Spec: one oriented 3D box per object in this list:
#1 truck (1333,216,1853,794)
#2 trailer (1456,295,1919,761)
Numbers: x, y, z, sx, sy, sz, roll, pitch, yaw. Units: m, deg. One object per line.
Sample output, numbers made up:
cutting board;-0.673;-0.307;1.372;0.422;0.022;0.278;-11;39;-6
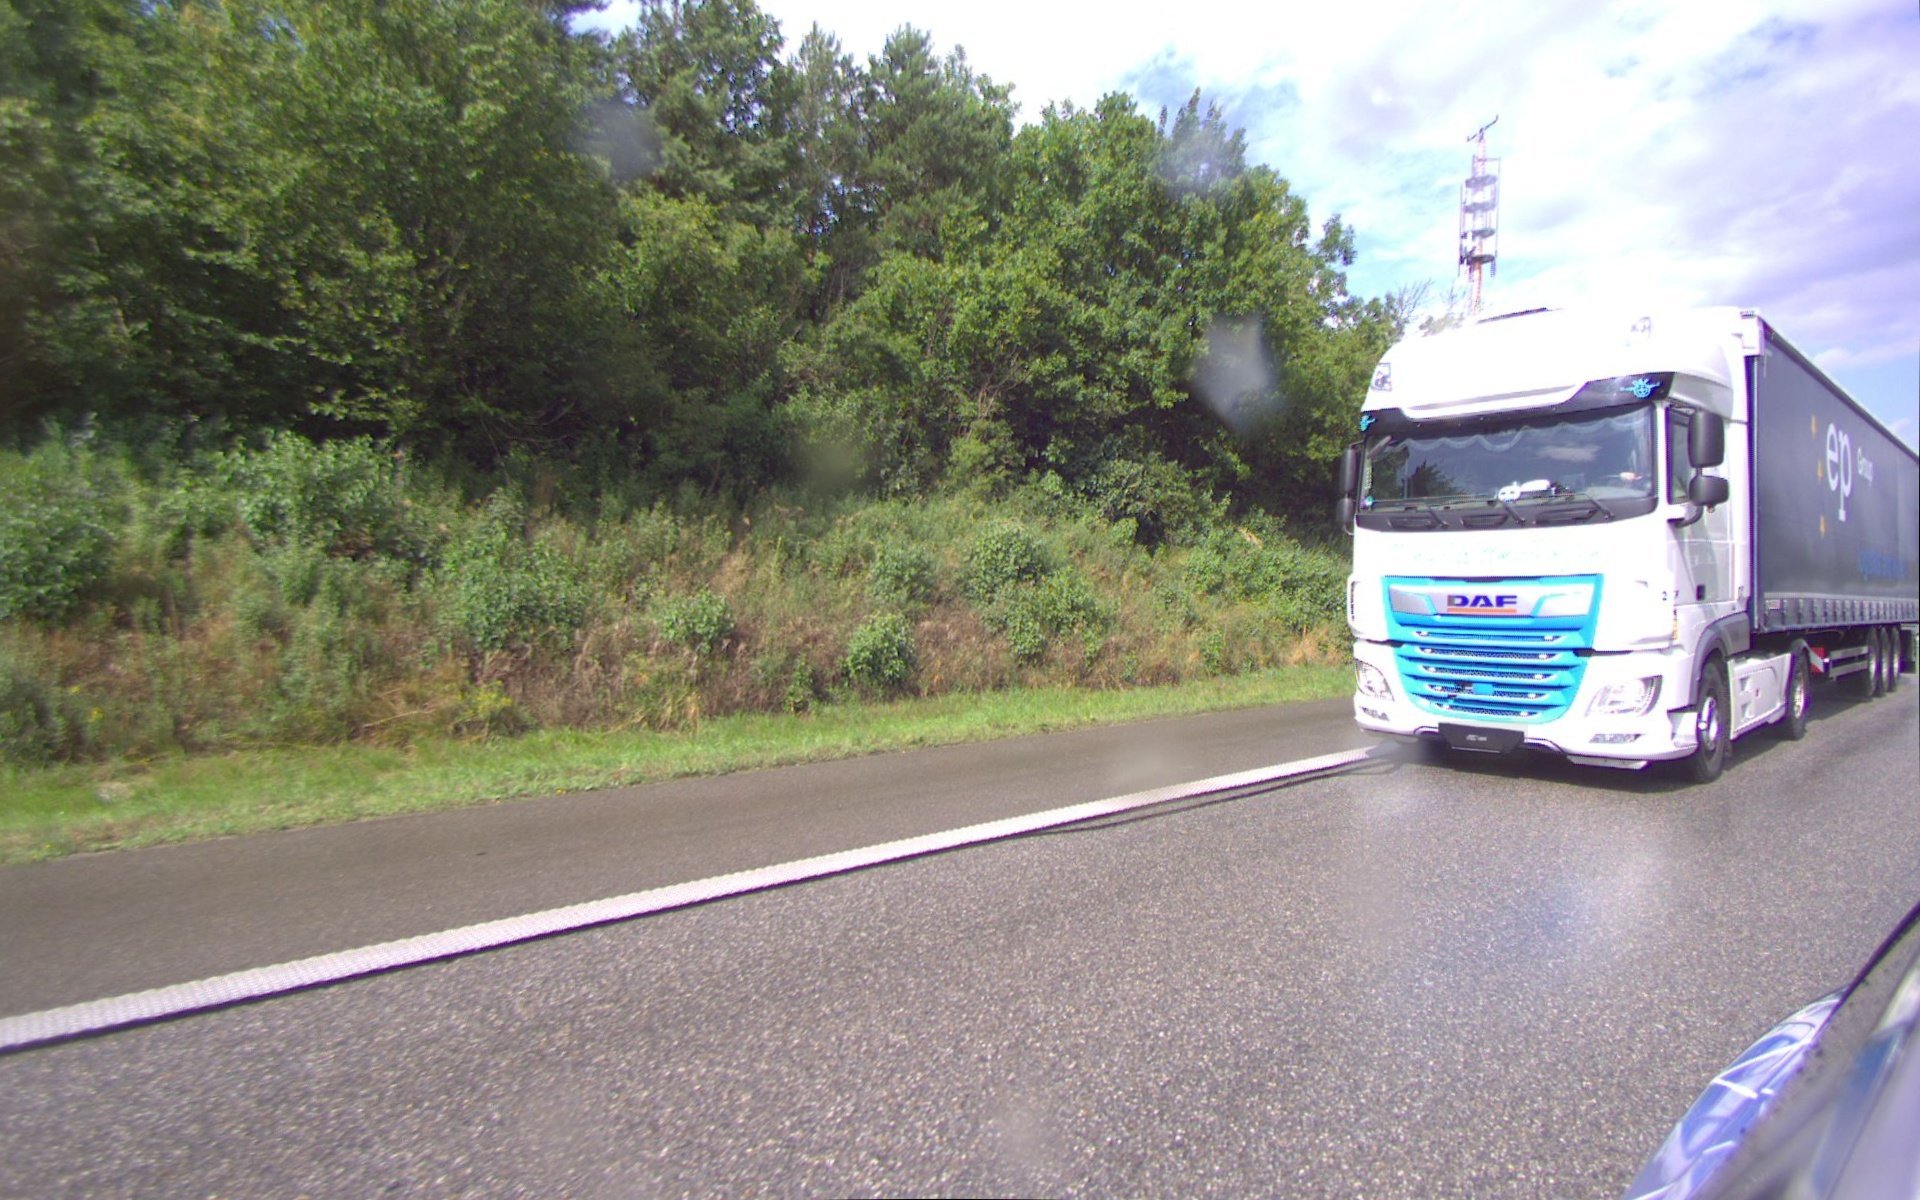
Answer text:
truck;6.884;-0.702;10.441;7.164;4.046;2.611;-1;0;-41
trailer;11.329;-0.694;14.356;13.820;4.046;2.638;-1;0;-41
